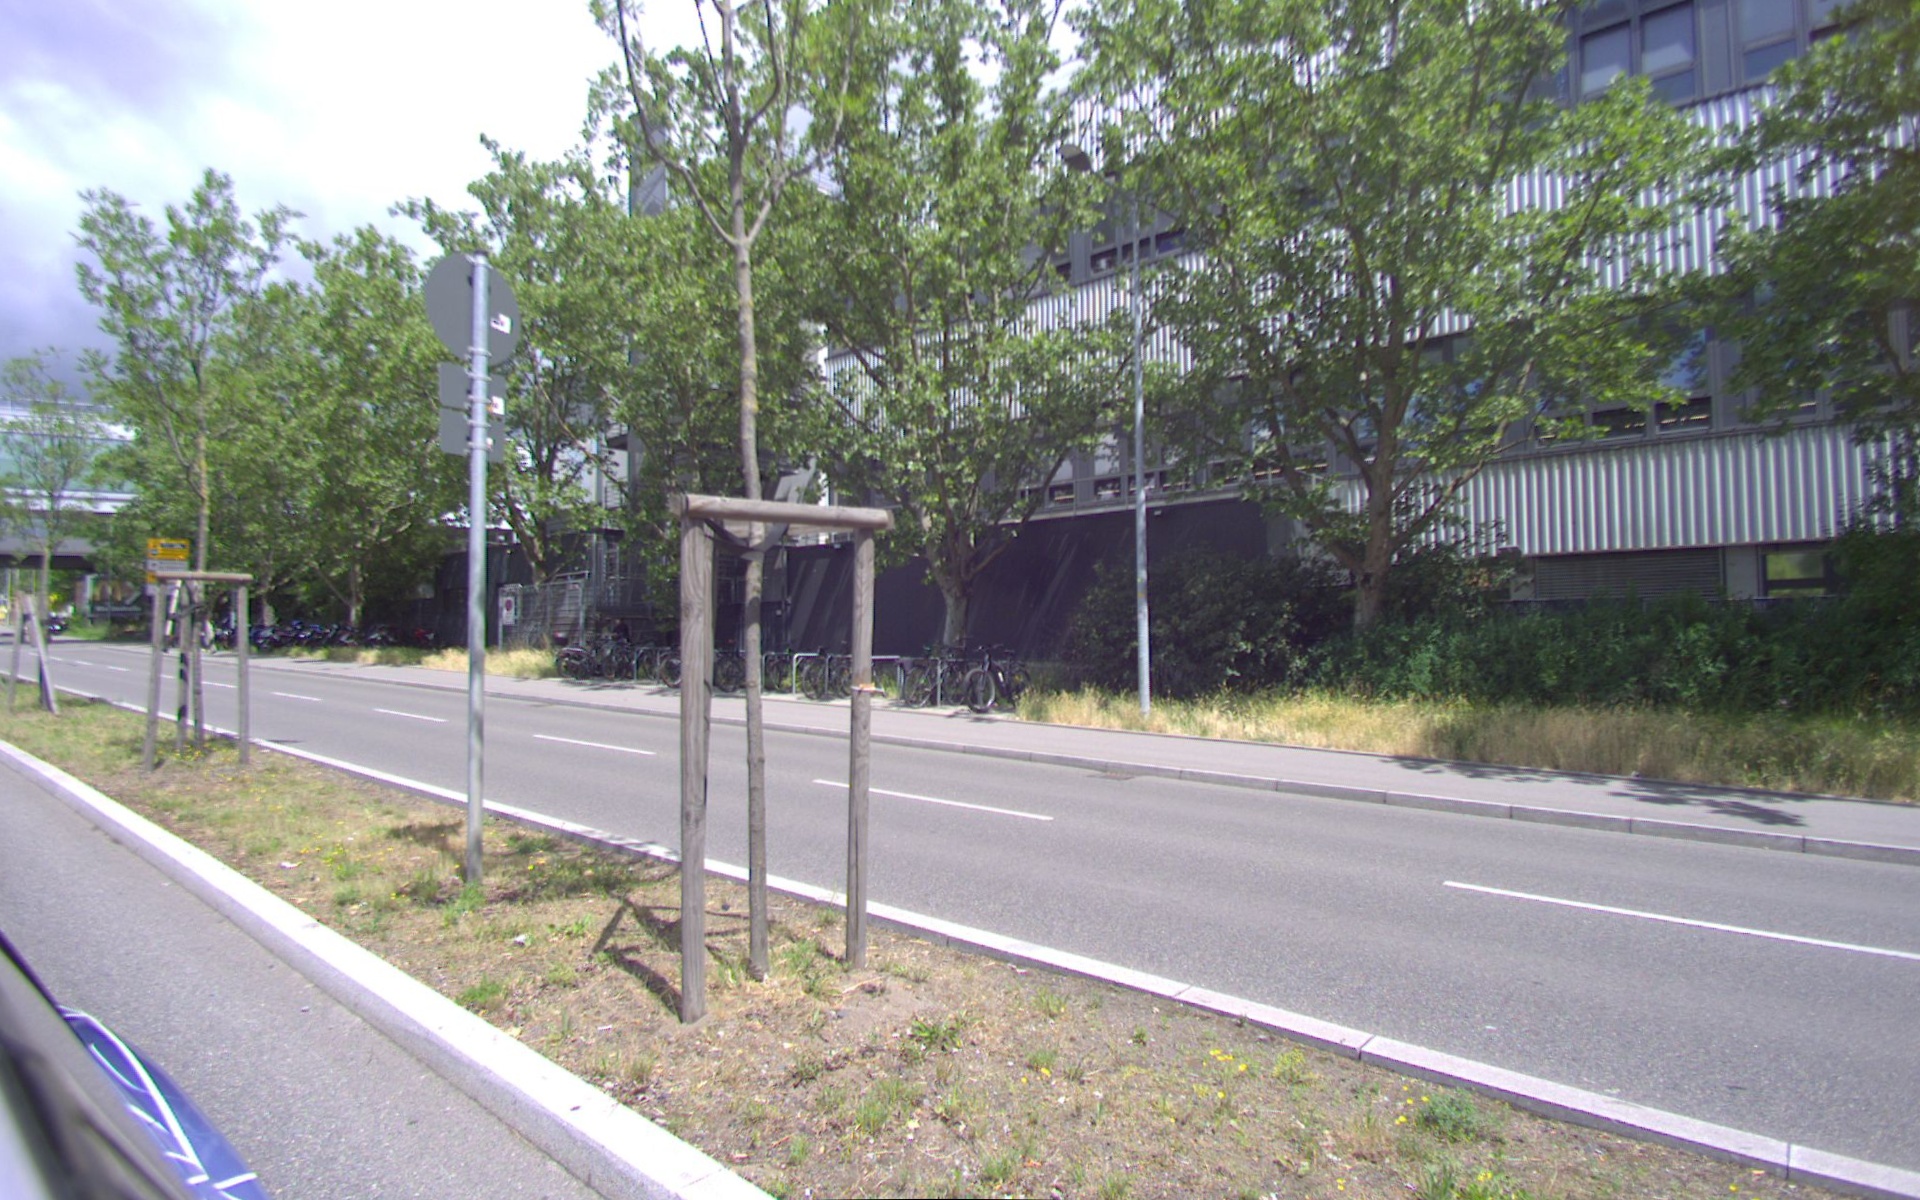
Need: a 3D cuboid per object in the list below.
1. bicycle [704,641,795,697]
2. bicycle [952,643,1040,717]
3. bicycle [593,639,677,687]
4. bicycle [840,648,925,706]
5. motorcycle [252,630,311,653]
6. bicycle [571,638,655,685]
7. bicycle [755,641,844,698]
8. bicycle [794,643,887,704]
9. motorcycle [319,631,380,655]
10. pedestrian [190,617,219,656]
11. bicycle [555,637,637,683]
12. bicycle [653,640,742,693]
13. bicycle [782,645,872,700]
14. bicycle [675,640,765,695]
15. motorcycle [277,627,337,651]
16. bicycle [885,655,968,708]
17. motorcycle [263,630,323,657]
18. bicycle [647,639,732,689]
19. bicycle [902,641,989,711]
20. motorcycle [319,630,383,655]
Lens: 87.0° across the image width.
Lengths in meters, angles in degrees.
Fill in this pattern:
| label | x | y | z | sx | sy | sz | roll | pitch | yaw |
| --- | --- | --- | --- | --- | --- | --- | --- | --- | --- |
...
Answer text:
| label | x | y | z | sx | sy | sz | roll | pitch | yaw |
| --- | --- | --- | --- | --- | --- | --- | --- | --- | --- |
| bicycle | -4.557 | 1.482 | 22.017 | 0.382 | 1.119 | 2.101 | -2 | -1 | 43 |
| bicycle | 0.646 | 1.341 | 17.398 | 0.381 | 1.137 | 1.968 | -2 | -1 | 39 |
| bicycle | -8.175 | 1.569 | 25.537 | 0.382 | 1.119 | 2.101 | -2 | -1 | 43 |
| bicycle | -1.483 | 1.479 | 19.707 | 0.381 | 1.005 | 1.968 | -2 | -1 | 39 |
| motorcycle | -30.193 | 1.836 | 45.076 | 0.534 | 0.976 | 2.105 | -2 | -1 | 41 |
| bicycle | -8.919 | 1.574 | 26.085 | 0.382 | 1.119 | 2.101 | -2 | -1 | 43 |
| bicycle | -3.426 | 1.459 | 21.751 | 0.382 | 1.119 | 2.101 | -2 | -1 | 43 |
| bicycle | -2.354 | 1.438 | 20.228 | 0.382 | 1.104 | 2.101 | -2 | -1 | 43 |
| motorcycle | -25.006 | 1.748 | 41.491 | 0.534 | 0.892 | 2.105 | -2 | -1 | 41 |
| pedestrian | -34.053 | 1.648 | 45.619 | 0.672 | 1.734 | 0.888 | -2 | -2 | 41 |
| bicycle | -9.561 | 1.555 | 26.631 | 0.382 | 1.119 | 2.101 | -2 | -1 | 43 |
| bicycle | -6.004 | 1.503 | 23.263 | 0.382 | 1.119 | 2.101 | -2 | -1 | 43 |
| bicycle | -2.757 | 1.482 | 21.136 | 0.382 | 1.038 | 2.101 | -2 | -1 | 43 |
| bicycle | -5.348 | 1.491 | 22.667 | 0.382 | 1.119 | 2.101 | -2 | -1 | 43 |
| motorcycle | -28.001 | 1.644 | 43.417 | 0.534 | 0.976 | 2.105 | -2 | -1 | 41 |
| bicycle | -0.611 | 1.523 | 19.221 | 0.381 | 0.897 | 1.968 | -2 | -1 | 39 |
| motorcycle | -29.110 | 1.890 | 44.196 | 0.534 | 1.146 | 2.105 | -2 | -1 | 41 |
| bicycle | -6.495 | 1.514 | 24.413 | 0.382 | 1.119 | 2.101 | -2 | -1 | 43 |
| bicycle | -0.233 | 1.338 | 18.120 | 0.381 | 1.137 | 1.968 | -2 | -1 | 39 |
| motorcycle | -23.926 | 1.672 | 39.818 | 0.534 | 0.905 | 2.105 | -2 | -1 | 41 |
